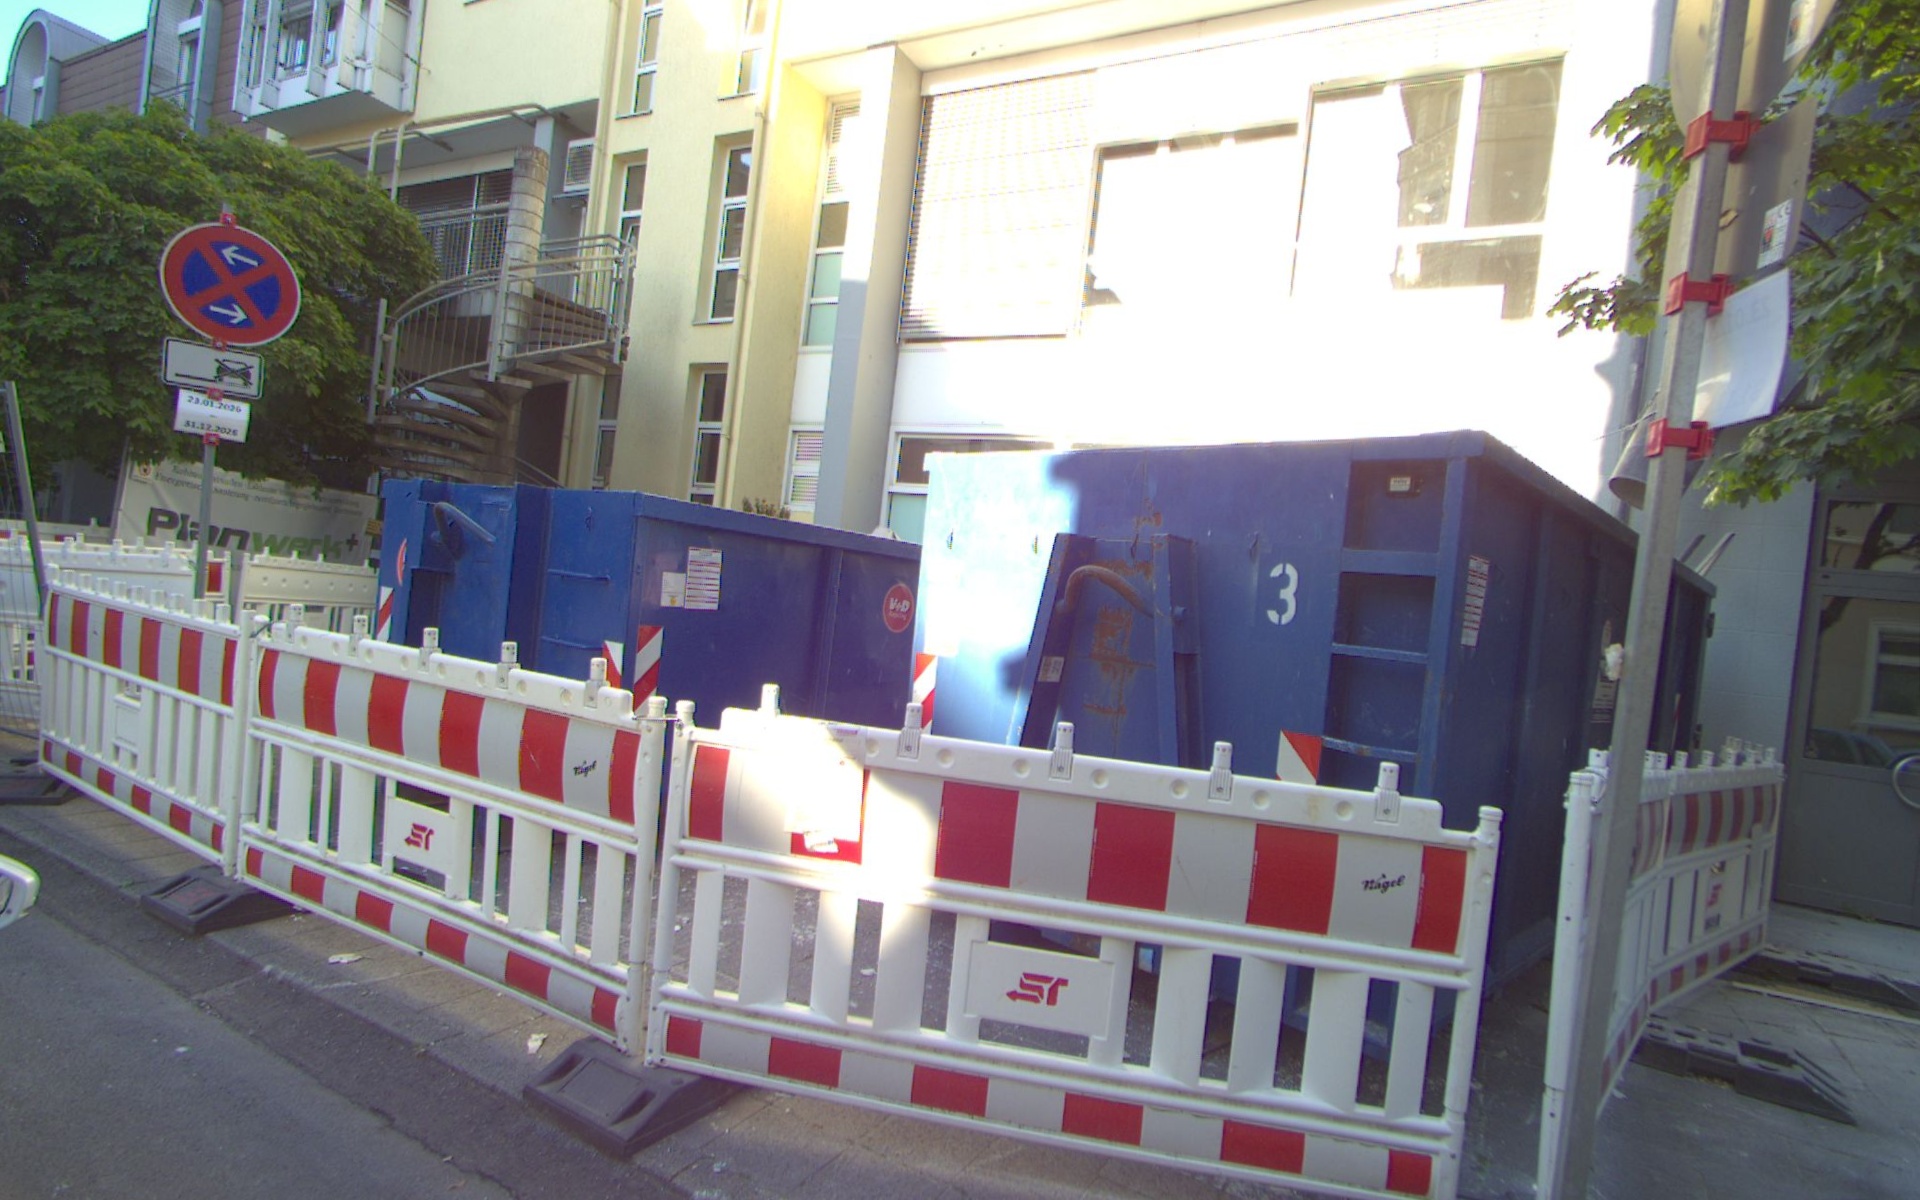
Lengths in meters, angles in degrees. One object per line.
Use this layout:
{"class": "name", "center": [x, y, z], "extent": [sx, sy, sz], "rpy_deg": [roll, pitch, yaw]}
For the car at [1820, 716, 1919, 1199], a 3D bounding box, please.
{"class": "car", "center": [2.993, 1.127, 0.467], "extent": [3.668, 1.495, 1.677], "rpy_deg": [7, 1, 32]}
